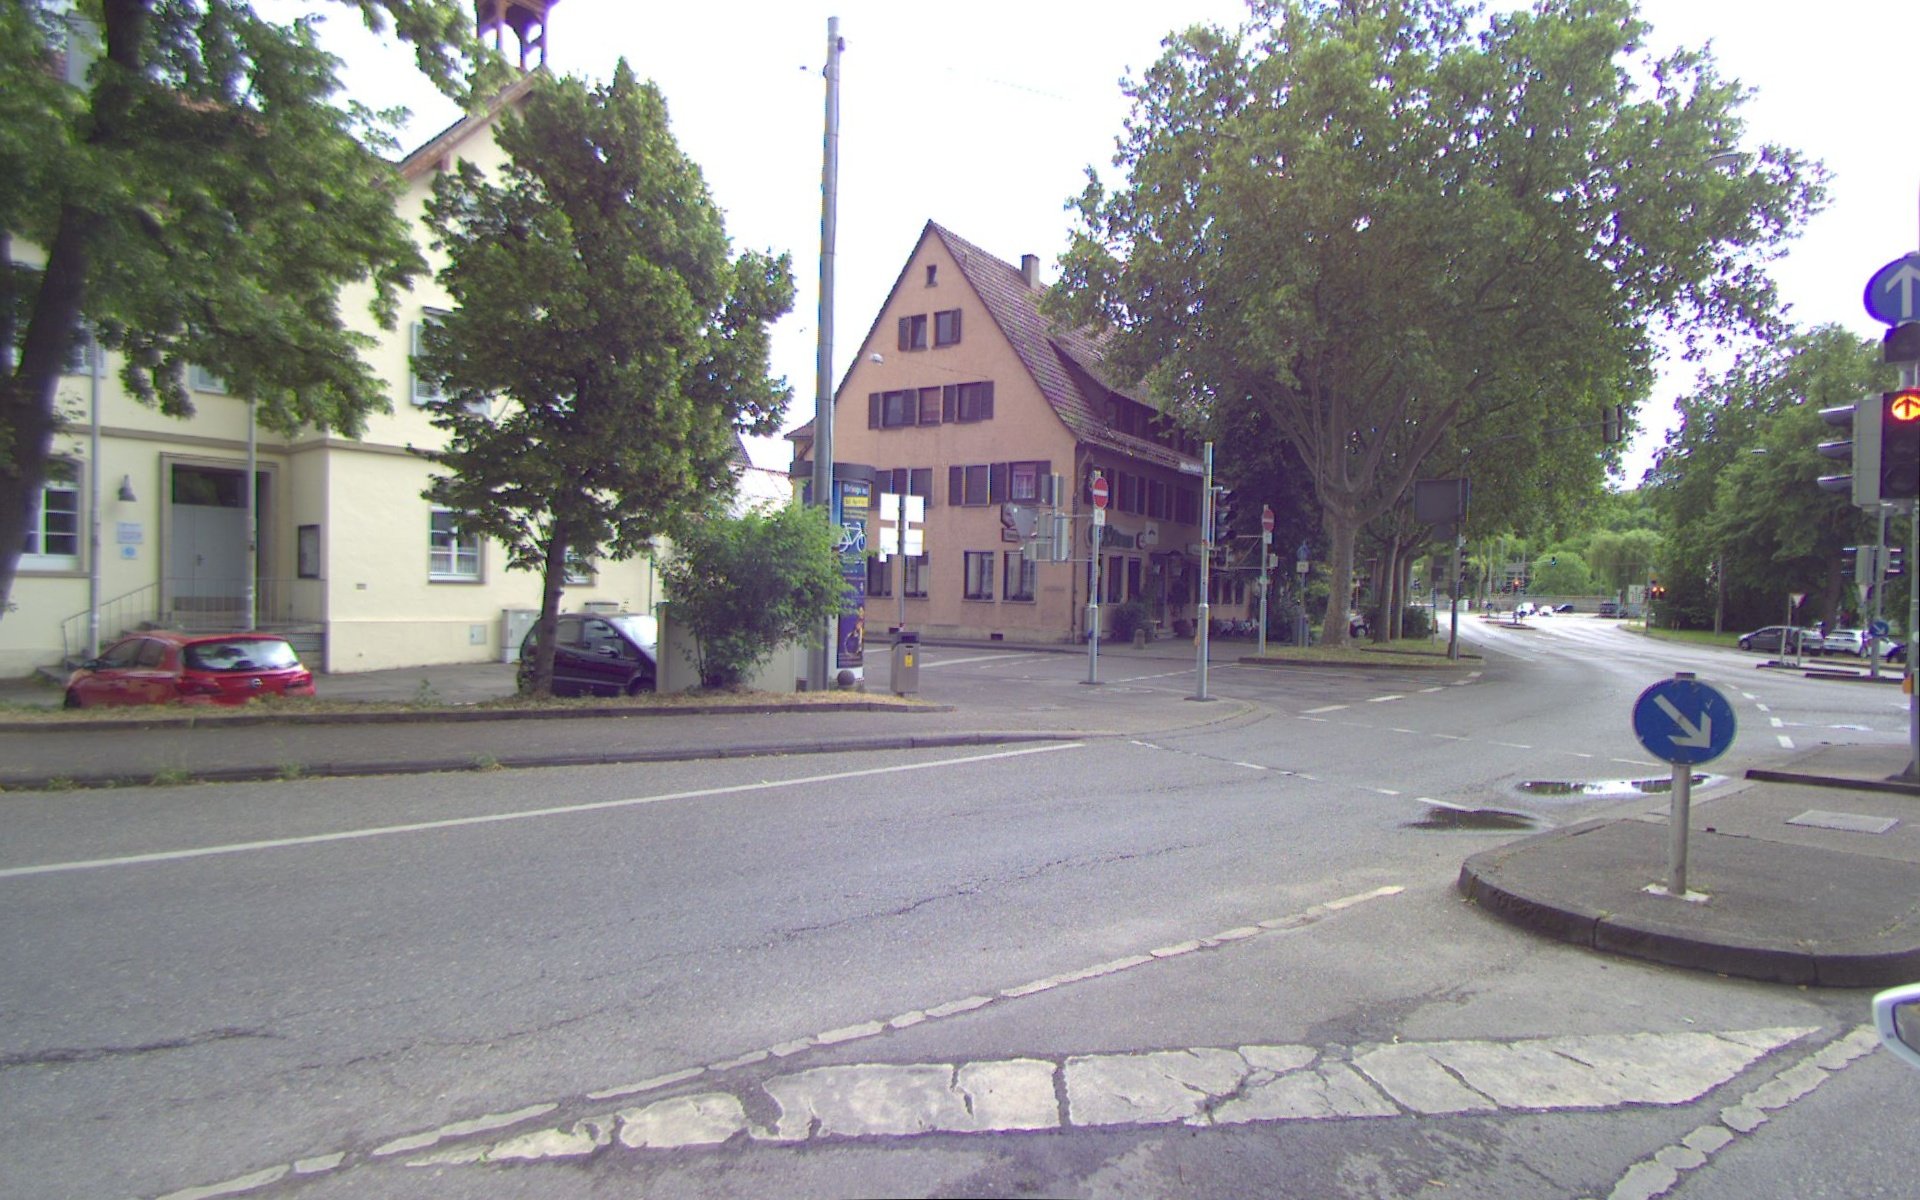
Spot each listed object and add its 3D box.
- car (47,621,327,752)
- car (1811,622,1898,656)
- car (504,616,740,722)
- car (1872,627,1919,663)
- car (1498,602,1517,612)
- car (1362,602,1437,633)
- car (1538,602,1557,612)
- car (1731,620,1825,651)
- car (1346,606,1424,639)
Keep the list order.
[{"bbox_3d":[-10.321,1.045,13.376,3.653,1.401,1.659,2,0,30],"label":"car"},{"bbox_3d":[47.461,2.044,53.331,3.696,1.662,1.859,2,0,-19],"label":"car"},{"bbox_3d":[-5.533,1.051,16.446,3.507,1.459,1.644,2,0,26],"label":"car"},{"bbox_3d":[39.445,1.864,40.770,1.746,1.370,3.326,2,0,-2],"label":"car"},{"bbox_3d":[85.261,1.080,156.444,1.553,1.506,3.337,3,0,12],"label":"car"},{"bbox_3d":[25.728,1.010,58.789,3.924,1.706,1.998,1,0,25],"label":"car"},{"bbox_3d":[90.884,1.103,155.451,1.469,1.436,3.028,3,0,11],"label":"car"},{"bbox_3d":[43.817,1.882,53.912,1.592,1.485,3.778,2,0,-11],"label":"car"},{"bbox_3d":[23.996,1.254,56.712,3.924,1.706,1.998,1,0,25],"label":"car"}]
